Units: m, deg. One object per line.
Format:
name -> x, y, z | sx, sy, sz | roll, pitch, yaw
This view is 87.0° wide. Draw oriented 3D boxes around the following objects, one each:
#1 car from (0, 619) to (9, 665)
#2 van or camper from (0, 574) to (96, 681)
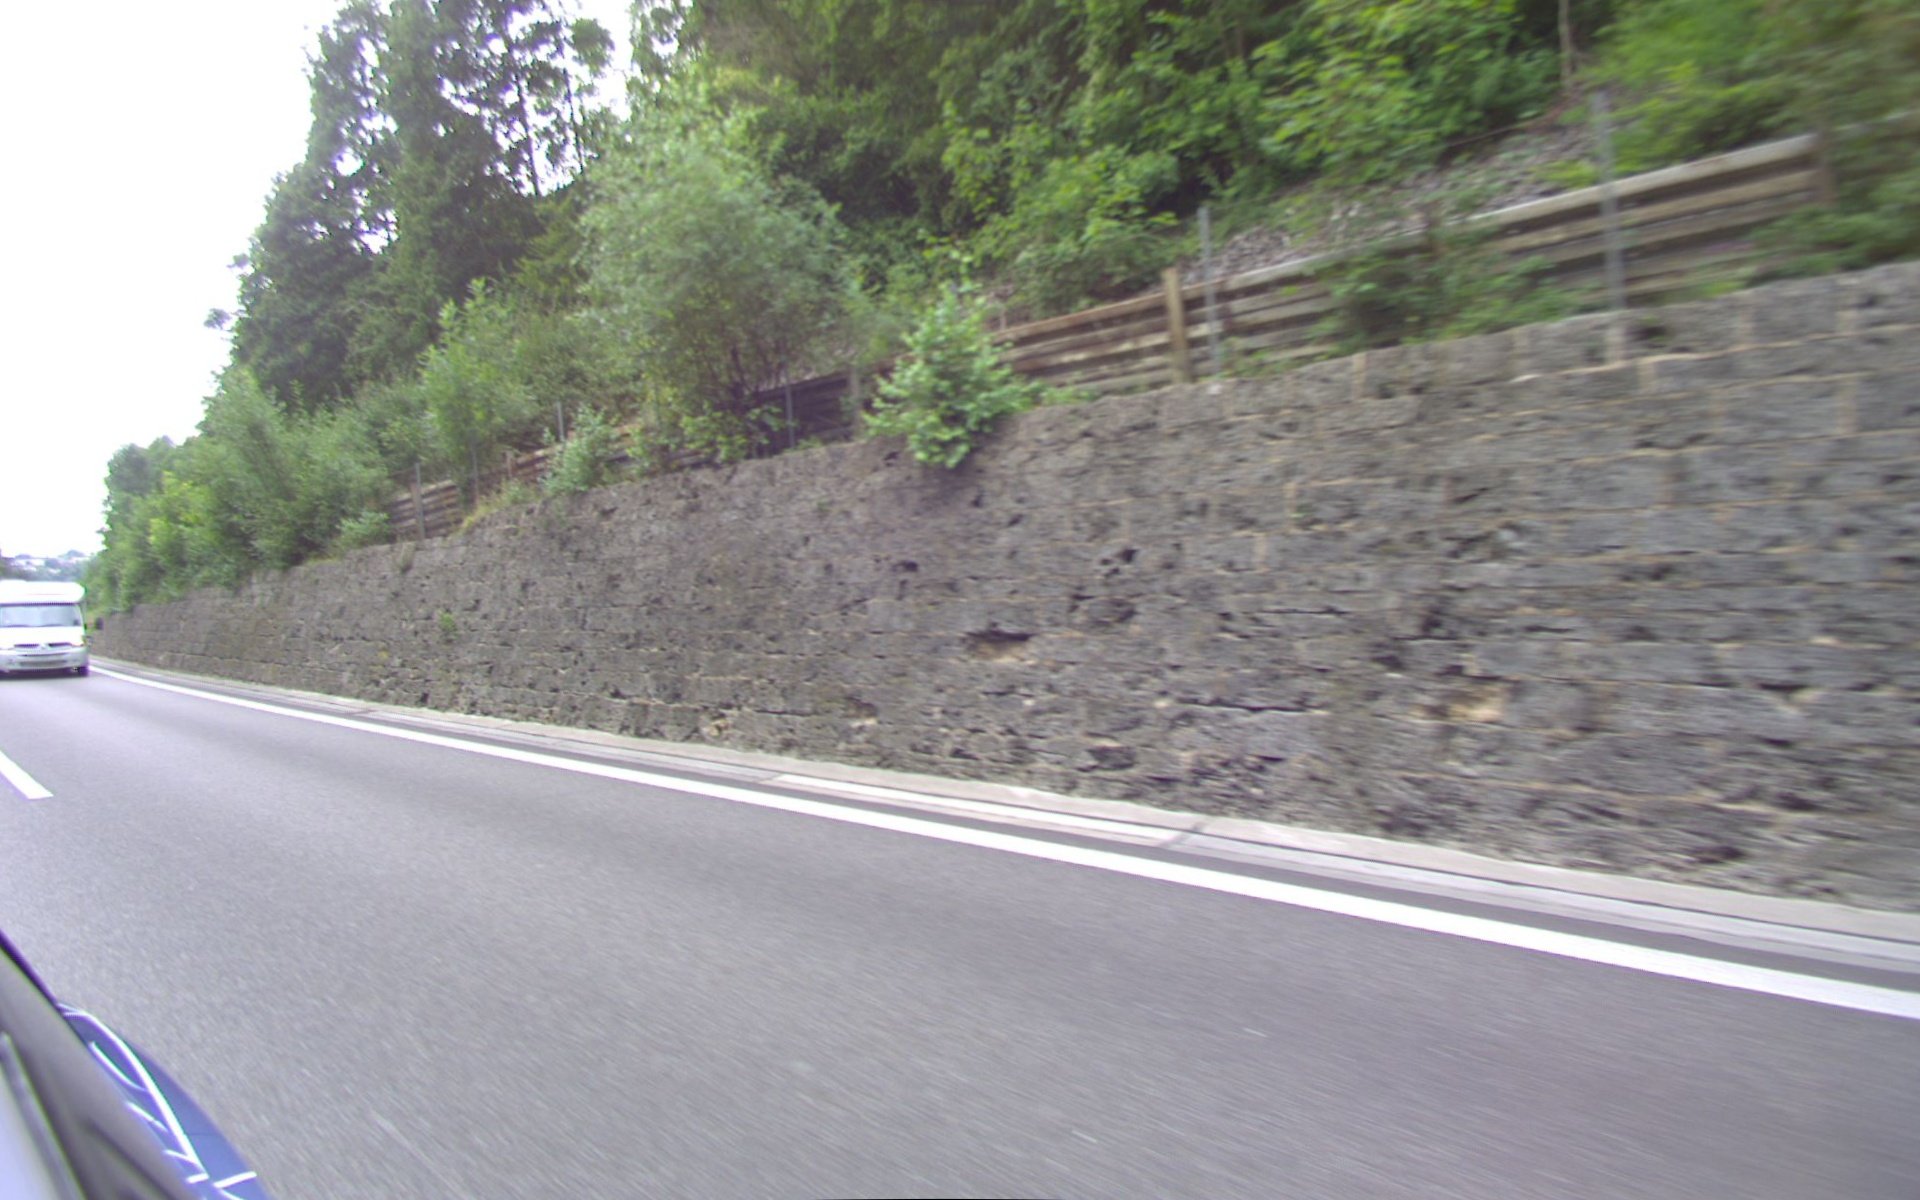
car -> -39.544, 1.683, 40.552 | 4.000, 1.796, 1.784 | -2, 0, 43
van or camper -> -26.770, 0.770, 29.022 | 7.024, 2.756, 2.240 | -2, -1, 43
